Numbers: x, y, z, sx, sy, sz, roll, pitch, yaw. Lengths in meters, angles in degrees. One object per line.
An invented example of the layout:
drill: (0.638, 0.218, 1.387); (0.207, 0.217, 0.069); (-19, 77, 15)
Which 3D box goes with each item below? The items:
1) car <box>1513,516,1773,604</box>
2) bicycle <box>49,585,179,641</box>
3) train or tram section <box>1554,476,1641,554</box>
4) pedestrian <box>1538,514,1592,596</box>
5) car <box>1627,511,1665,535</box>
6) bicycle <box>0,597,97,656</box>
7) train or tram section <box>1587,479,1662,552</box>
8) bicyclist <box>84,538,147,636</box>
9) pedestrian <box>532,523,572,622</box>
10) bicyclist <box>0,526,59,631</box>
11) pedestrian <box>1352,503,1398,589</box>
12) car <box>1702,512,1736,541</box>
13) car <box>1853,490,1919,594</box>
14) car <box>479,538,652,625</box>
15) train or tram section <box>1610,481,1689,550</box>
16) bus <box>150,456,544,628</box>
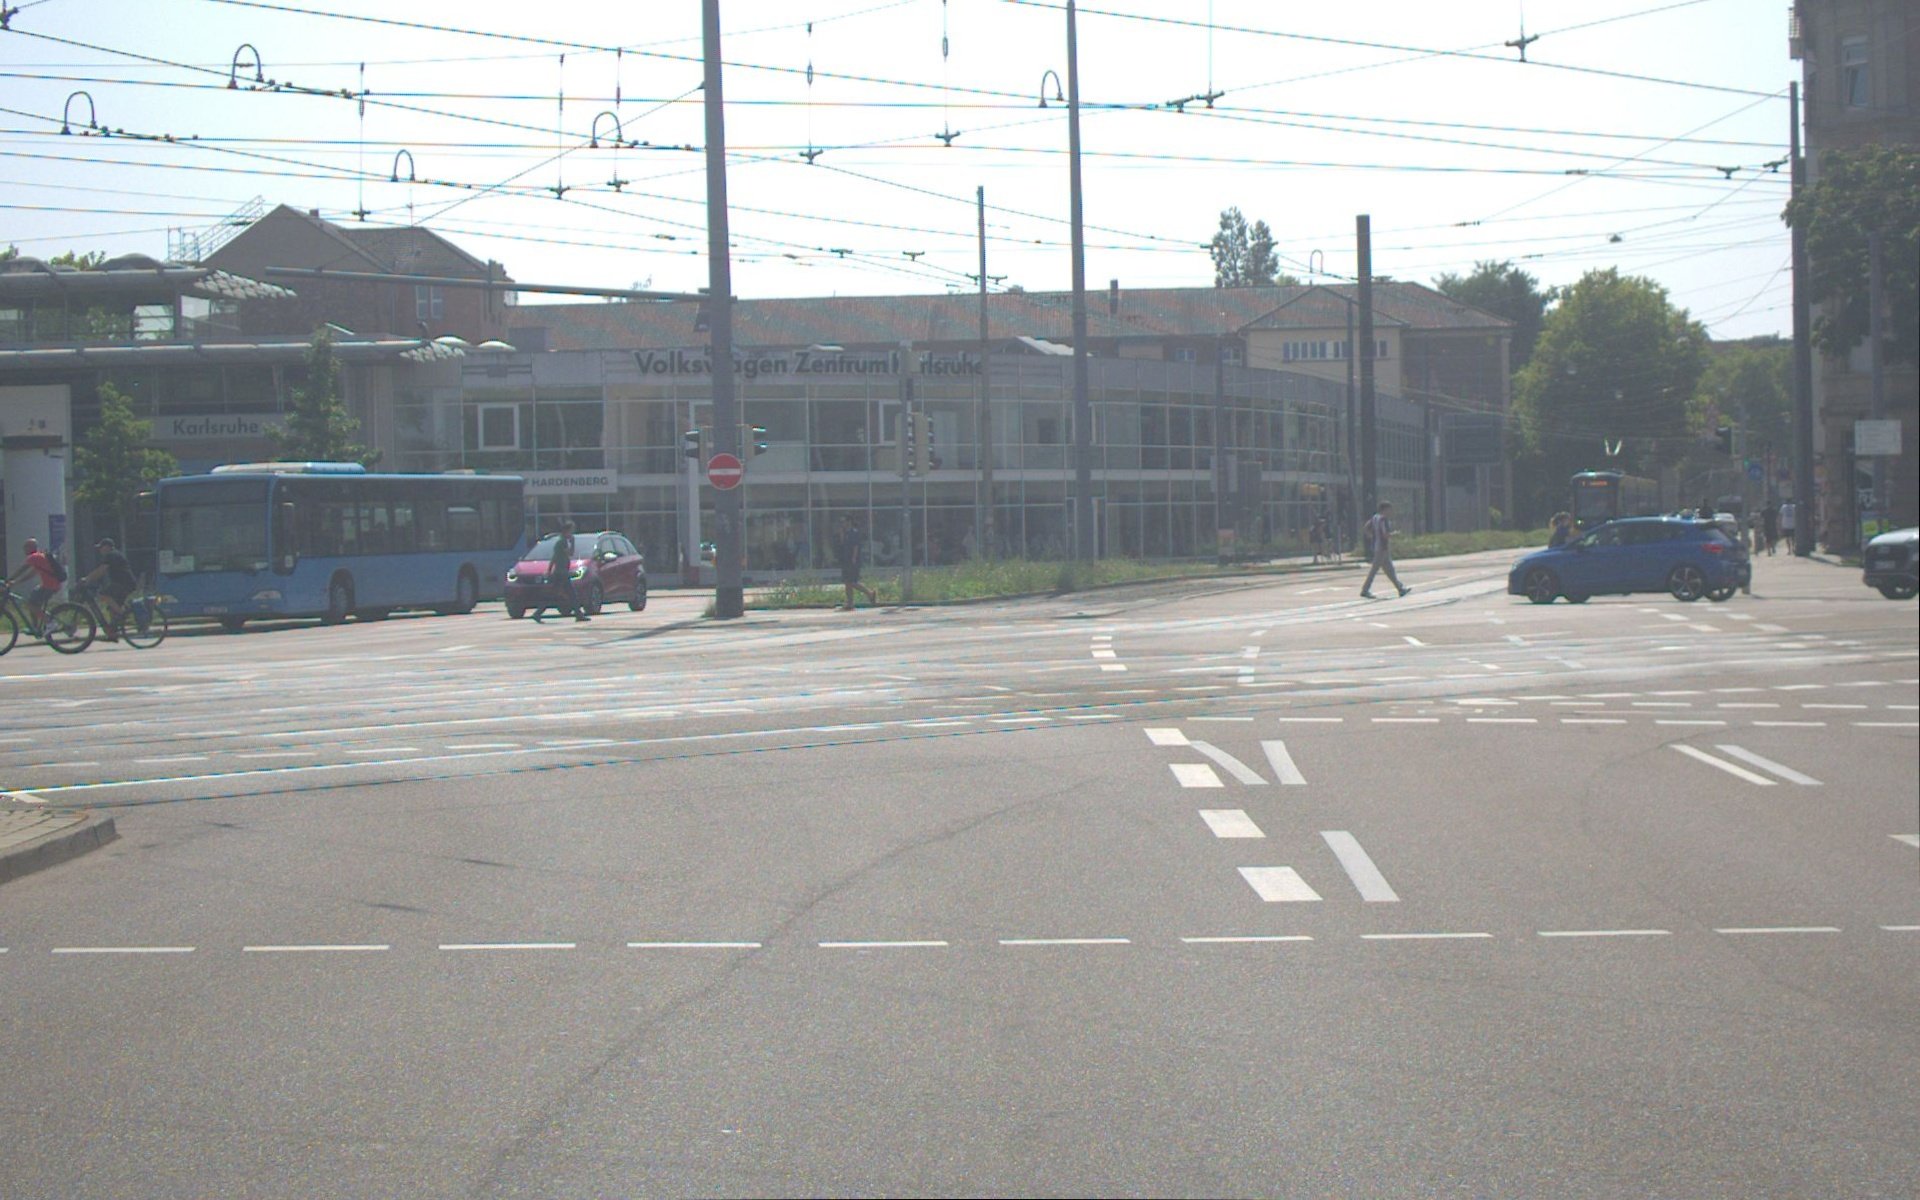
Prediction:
car: (11.511, -0.676, 57.976); (3.993, 1.389, 1.594); (-1, 1, 27)
bicycle: (-12.923, 0.191, 52.519); (1.855, 0.799, 0.608); (-2, 1, -19)
train or tram section: (30.209, -4.030, 162.685); (2.590, 3.504, 10.889); (-1, 1, 18)
pedestrian: (11.474, -0.860, 65.209); (0.850, 1.539, 0.529); (-1, 1, -8)
car: (43.745, -4.922, 219.066); (1.799, 1.503, 3.996); (-1, 1, 19)
bicycle: (-13.375, 0.388, 49.010); (2.048, 0.799, 0.479); (-1, 1, -13)
train or tram section: (33.387, -4.233, 172.547); (2.590, 3.504, 9.651); (-1, 1, 17)
bicyclist: (-12.901, -0.206, 52.518); (0.871, 1.470, 0.546); (-2, 1, -18)
pedestrian: (-6.982, -0.474, 58.839); (0.552, 1.678, 0.454); (-1, 1, -19)
bicyclist: (-13.312, -0.308, 48.991); (0.871, 1.478, 0.497); (-1, 1, -13)
pedestrian: (7.795, -1.019, 64.583); (0.699, 1.597, 0.573); (-1, 1, -8)
car: (48.994, -4.720, 221.844); (1.821, 1.803, 3.997); (1, 0, 17)
car: (16.641, -0.970, 54.977); (4.321, 1.612, 1.755); (-2, 1, -21)
car: (-7.425, -0.367, 65.062); (1.751, 1.546, 3.997); (-1, 1, 17)
train or tram section: (36.824, -4.486, 183.243); (2.590, 3.504, 12.961); (-1, 1, 18)
bus: (-11.847, -1.184, 68.144); (2.564, 3.072, 12.014); (-1, 1, 16)
